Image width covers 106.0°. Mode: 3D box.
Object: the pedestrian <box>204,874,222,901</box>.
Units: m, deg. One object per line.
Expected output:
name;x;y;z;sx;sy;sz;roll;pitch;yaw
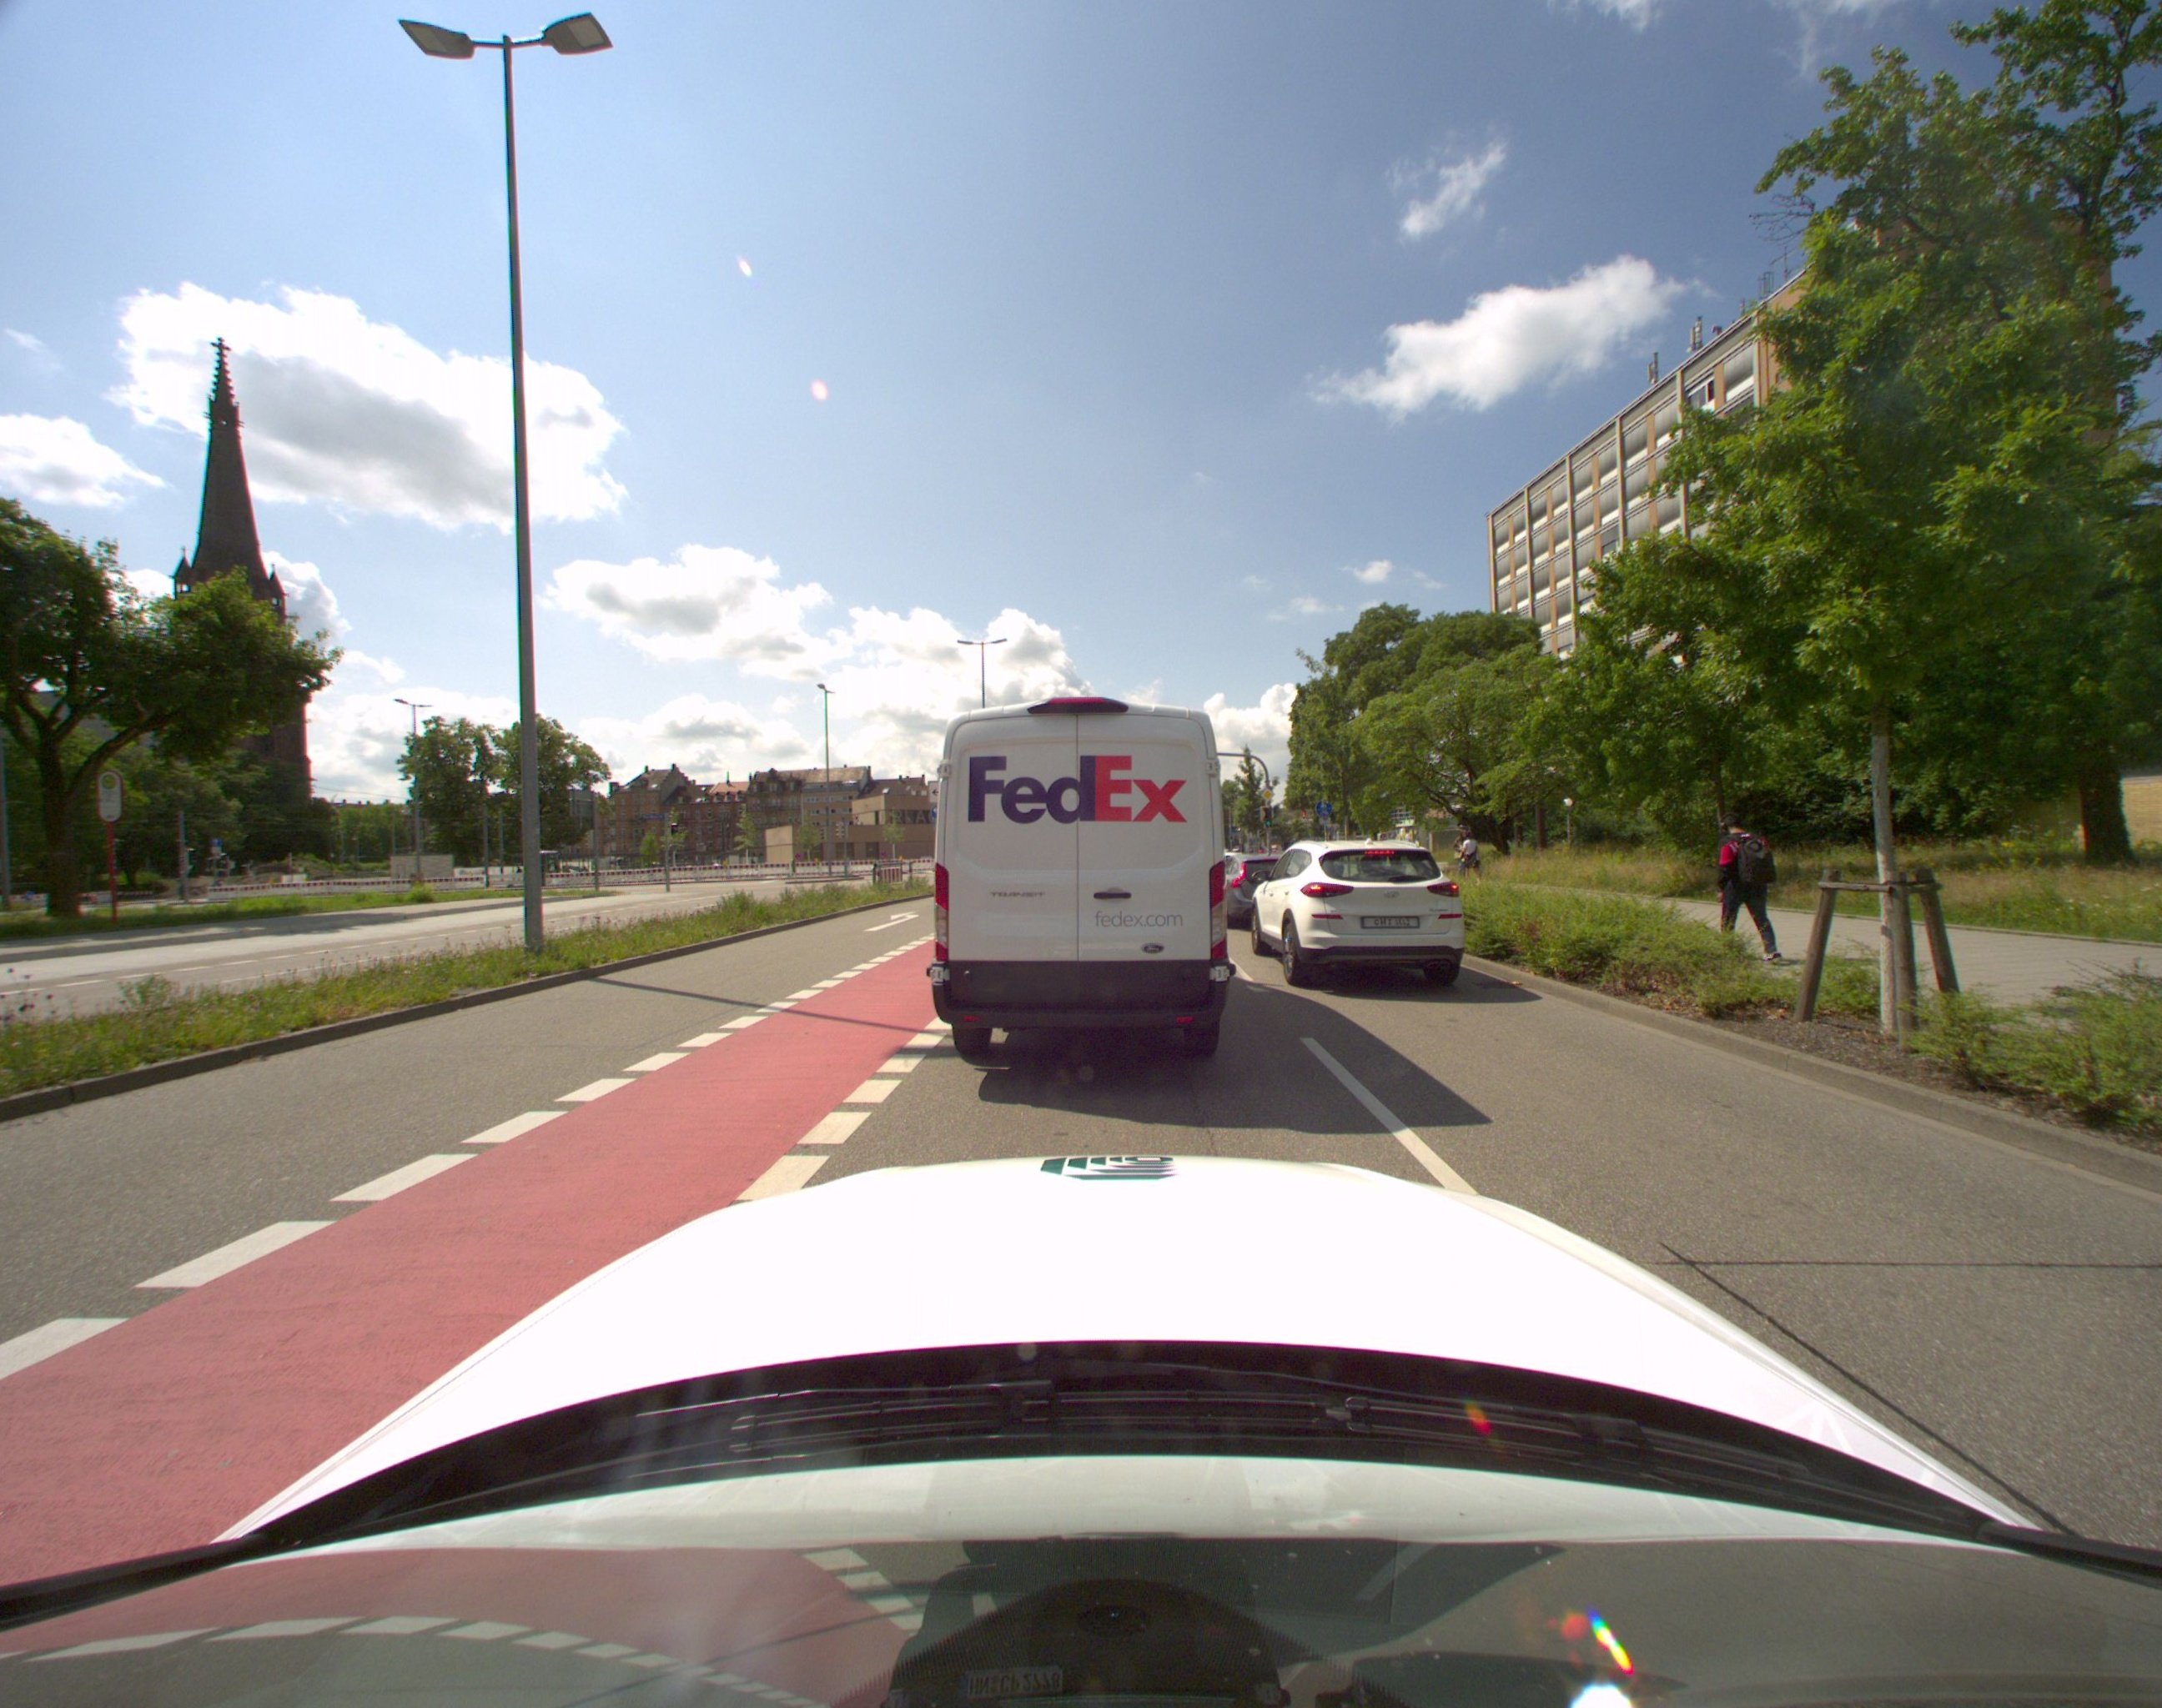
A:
pedestrian;-65.609;2.551;61.542;0.629;2.013;0.648;-2;0;-4

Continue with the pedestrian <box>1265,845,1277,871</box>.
pedestrian;13.716;0.313;58.886;0.753;1.849;0.820;-2;0;16

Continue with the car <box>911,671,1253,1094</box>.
car;0.130;0.171;7.296;2.064;2.581;4.432;-2;0;3

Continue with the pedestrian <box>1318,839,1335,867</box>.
pedestrian;16.842;-0.055;55.831;0.758;1.849;0.814;-2;0;-8

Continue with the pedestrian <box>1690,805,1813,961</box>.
pedestrian;7.572;0.316;9.240;0.753;1.684;0.819;-2;0;13

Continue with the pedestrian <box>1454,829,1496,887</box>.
pedestrian;10.956;0.109;22.645;0.755;1.557;0.817;-2;0;3

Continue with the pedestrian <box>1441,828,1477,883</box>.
pedestrian;11.853;0.047;25.543;0.755;1.655;0.817;-2;0;5

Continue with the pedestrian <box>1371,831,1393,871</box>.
pedestrian;13.642;-0.150;36.963;0.754;1.789;0.818;-2;0;10

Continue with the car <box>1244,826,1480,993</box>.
car;3.295;0.557;10.394;1.807;1.678;3.978;-2;0;3

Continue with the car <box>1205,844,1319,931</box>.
car;3.607;0.605;16.818;1.684;1.549;3.724;-2;0;3

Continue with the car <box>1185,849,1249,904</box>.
car;3.954;0.605;24.084;1.493;1.464;3.477;-2;0;3

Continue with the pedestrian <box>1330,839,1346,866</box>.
pedestrian;17.718;-0.093;56.113;0.758;1.849;0.814;-2;0;-6

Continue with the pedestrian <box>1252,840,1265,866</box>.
pedestrian;13.020;-0.079;59.728;0.810;1.849;0.762;-2;0;5

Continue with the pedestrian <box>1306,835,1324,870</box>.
pedestrian;12.738;-0.071;44.368;0.755;1.849;0.817;-2;0;5

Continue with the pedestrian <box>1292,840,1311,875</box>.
pedestrian;11.889;0.189;43.960;0.755;1.849;0.817;-2;0;3
